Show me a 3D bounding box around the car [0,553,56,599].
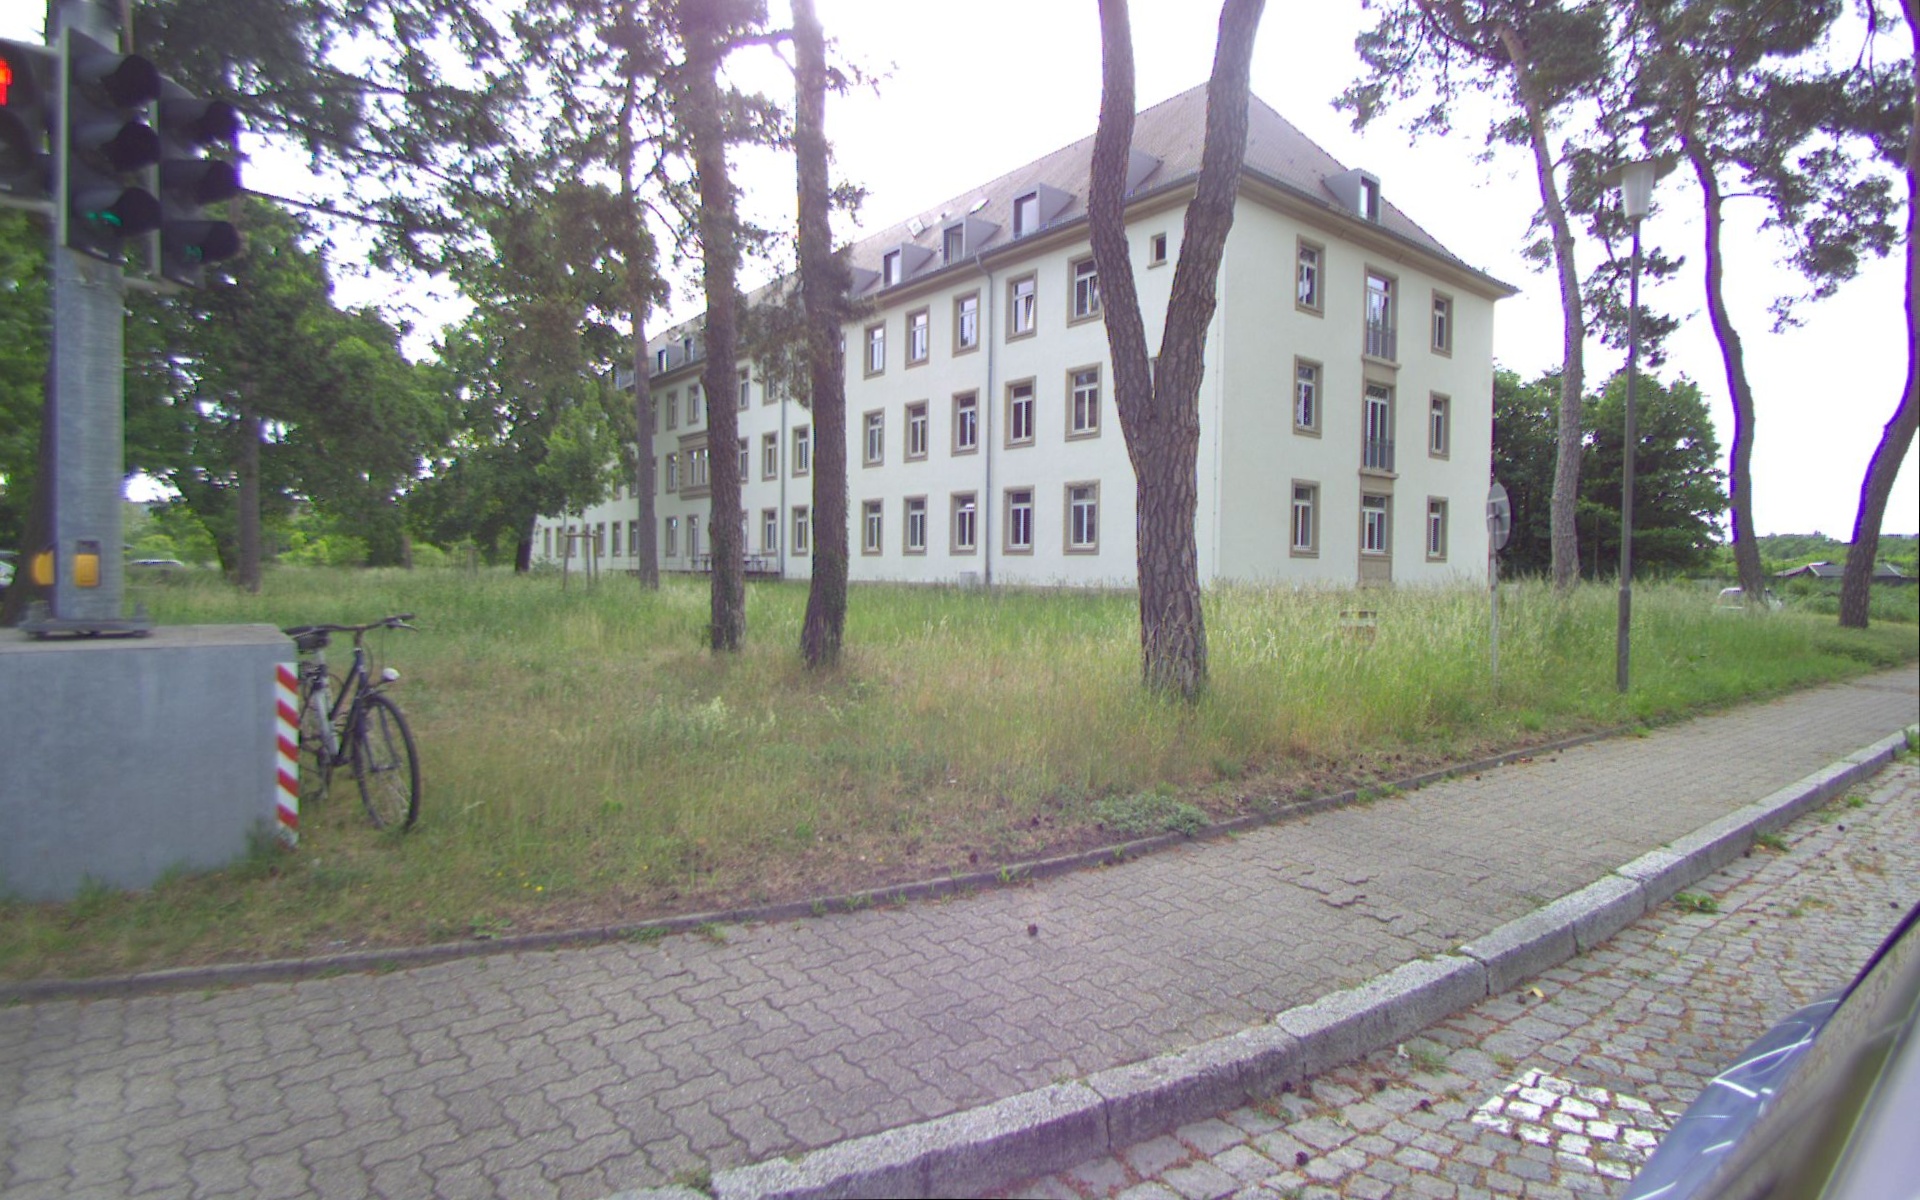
[{"bbox_3d":[-35.156,-0.866,35.927,4.435,1.638,1.999,-1,2,-38],"label":"car"}]

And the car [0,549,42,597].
[{"bbox_3d":[-37.681,-1.014,37.997,4.611,1.795,1.999,-1,2,-38],"label":"car"}]

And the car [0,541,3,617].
[{"bbox_3d":[-26.881,-0.523,24.718,2.226,1.933,4.800,2,2,36],"label":"car"}]

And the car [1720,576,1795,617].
[{"bbox_3d":[31.734,-0.172,40.249,3.220,1.451,1.641,-3,4,-39],"label":"car"}]

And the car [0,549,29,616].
[{"bbox_3d":[-23.803,-0.409,22.888,3.859,1.549,1.862,-1,2,-37],"label":"car"}]

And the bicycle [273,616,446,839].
[{"bbox_3d":[-3.145,0.564,5.227,0.562,0.885,1.704,0,2,-38],"label":"bicycle"}]
